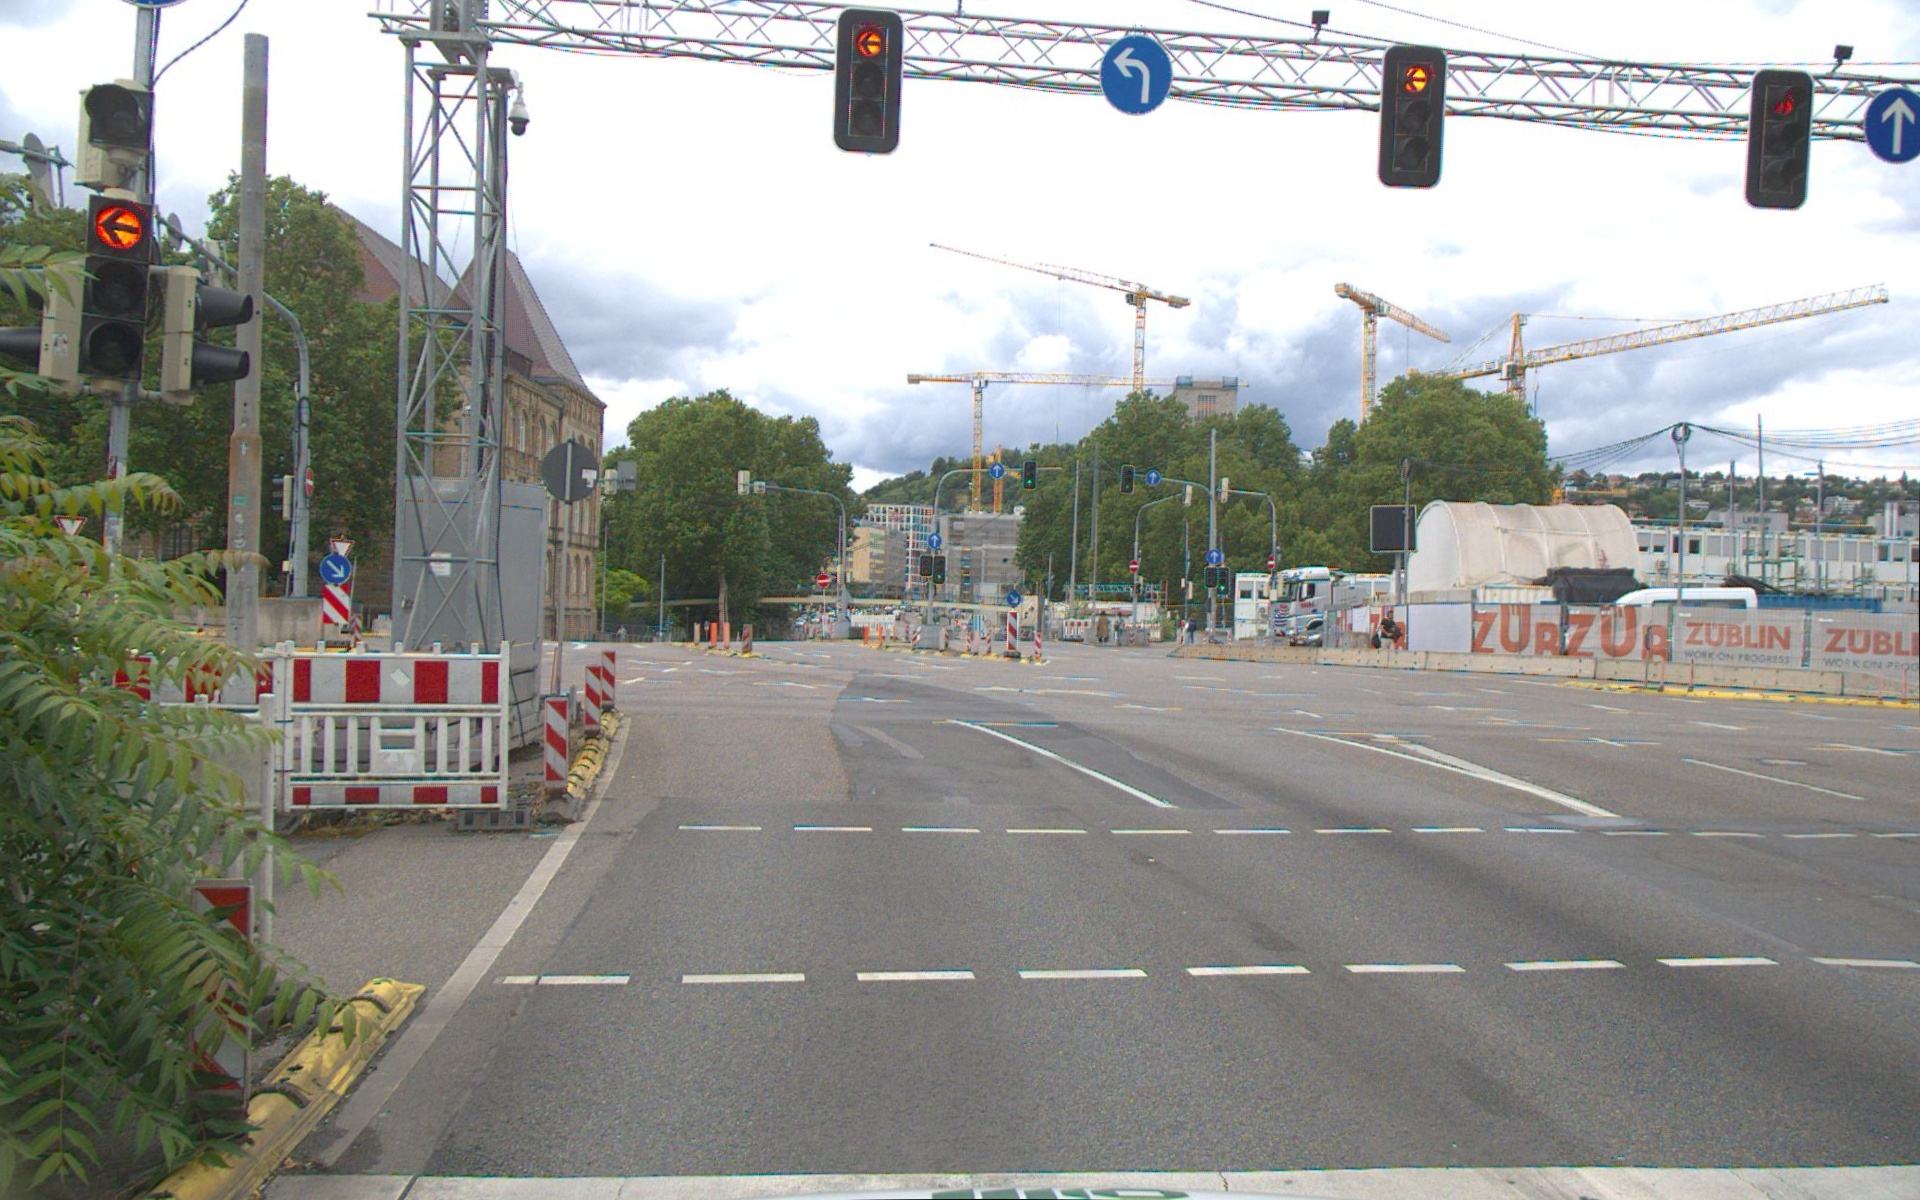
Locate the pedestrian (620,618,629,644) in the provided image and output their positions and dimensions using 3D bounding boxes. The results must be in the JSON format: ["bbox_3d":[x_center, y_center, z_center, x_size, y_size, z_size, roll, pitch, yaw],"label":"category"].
[{"bbox_3d":[-26.687,2.468,131.540,0.513,2.049,0.566,1,0,-1],"label":"pedestrian"}]

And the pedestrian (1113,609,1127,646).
[{"bbox_3d":[7.649,1.320,79.157,0.555,1.718,0.471,2,0,-1],"label":"pedestrian"}]

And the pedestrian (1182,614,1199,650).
[{"bbox_3d":[11.154,1.557,80.025,0.609,1.718,0.710,2,0,28],"label":"pedestrian"}]

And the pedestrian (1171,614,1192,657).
[{"bbox_3d":[9.067,1.433,67.640,0.714,1.718,0.677,2,0,-1],"label":"pedestrian"}]

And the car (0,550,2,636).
[{"bbox_3d":[-19.703,-0.131,29.347,4.239,1.705,1.993,2,0,-14],"label":"car"}]

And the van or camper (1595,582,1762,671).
[{"bbox_3d":[20.732,0.744,47.910,4.123,2.398,2.001,1,0,14],"label":"van or camper"}]

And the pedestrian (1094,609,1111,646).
[{"bbox_3d":[6.773,1.292,78.809,0.714,1.718,0.677,2,0,-1],"label":"pedestrian"}]

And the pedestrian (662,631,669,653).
[{"bbox_3d":[-28.160,4.027,157.943,0.513,2.049,0.566,1,0,-1],"label":"pedestrian"}]

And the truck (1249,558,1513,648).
[{"bbox_3d":[20.999,0.167,82.319,12.837,4.111,3.927,1,0,-21],"label":"truck"}]

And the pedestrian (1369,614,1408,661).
[{"bbox_3d":[13.387,1.171,51.663,0.784,1.402,0.900,2,0,-19],"label":"pedestrian"}]

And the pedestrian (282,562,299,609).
[{"bbox_3d":[-29.496,-0.619,72.840,0.523,2.049,0.421,2,0,-44],"label":"pedestrian"}]
